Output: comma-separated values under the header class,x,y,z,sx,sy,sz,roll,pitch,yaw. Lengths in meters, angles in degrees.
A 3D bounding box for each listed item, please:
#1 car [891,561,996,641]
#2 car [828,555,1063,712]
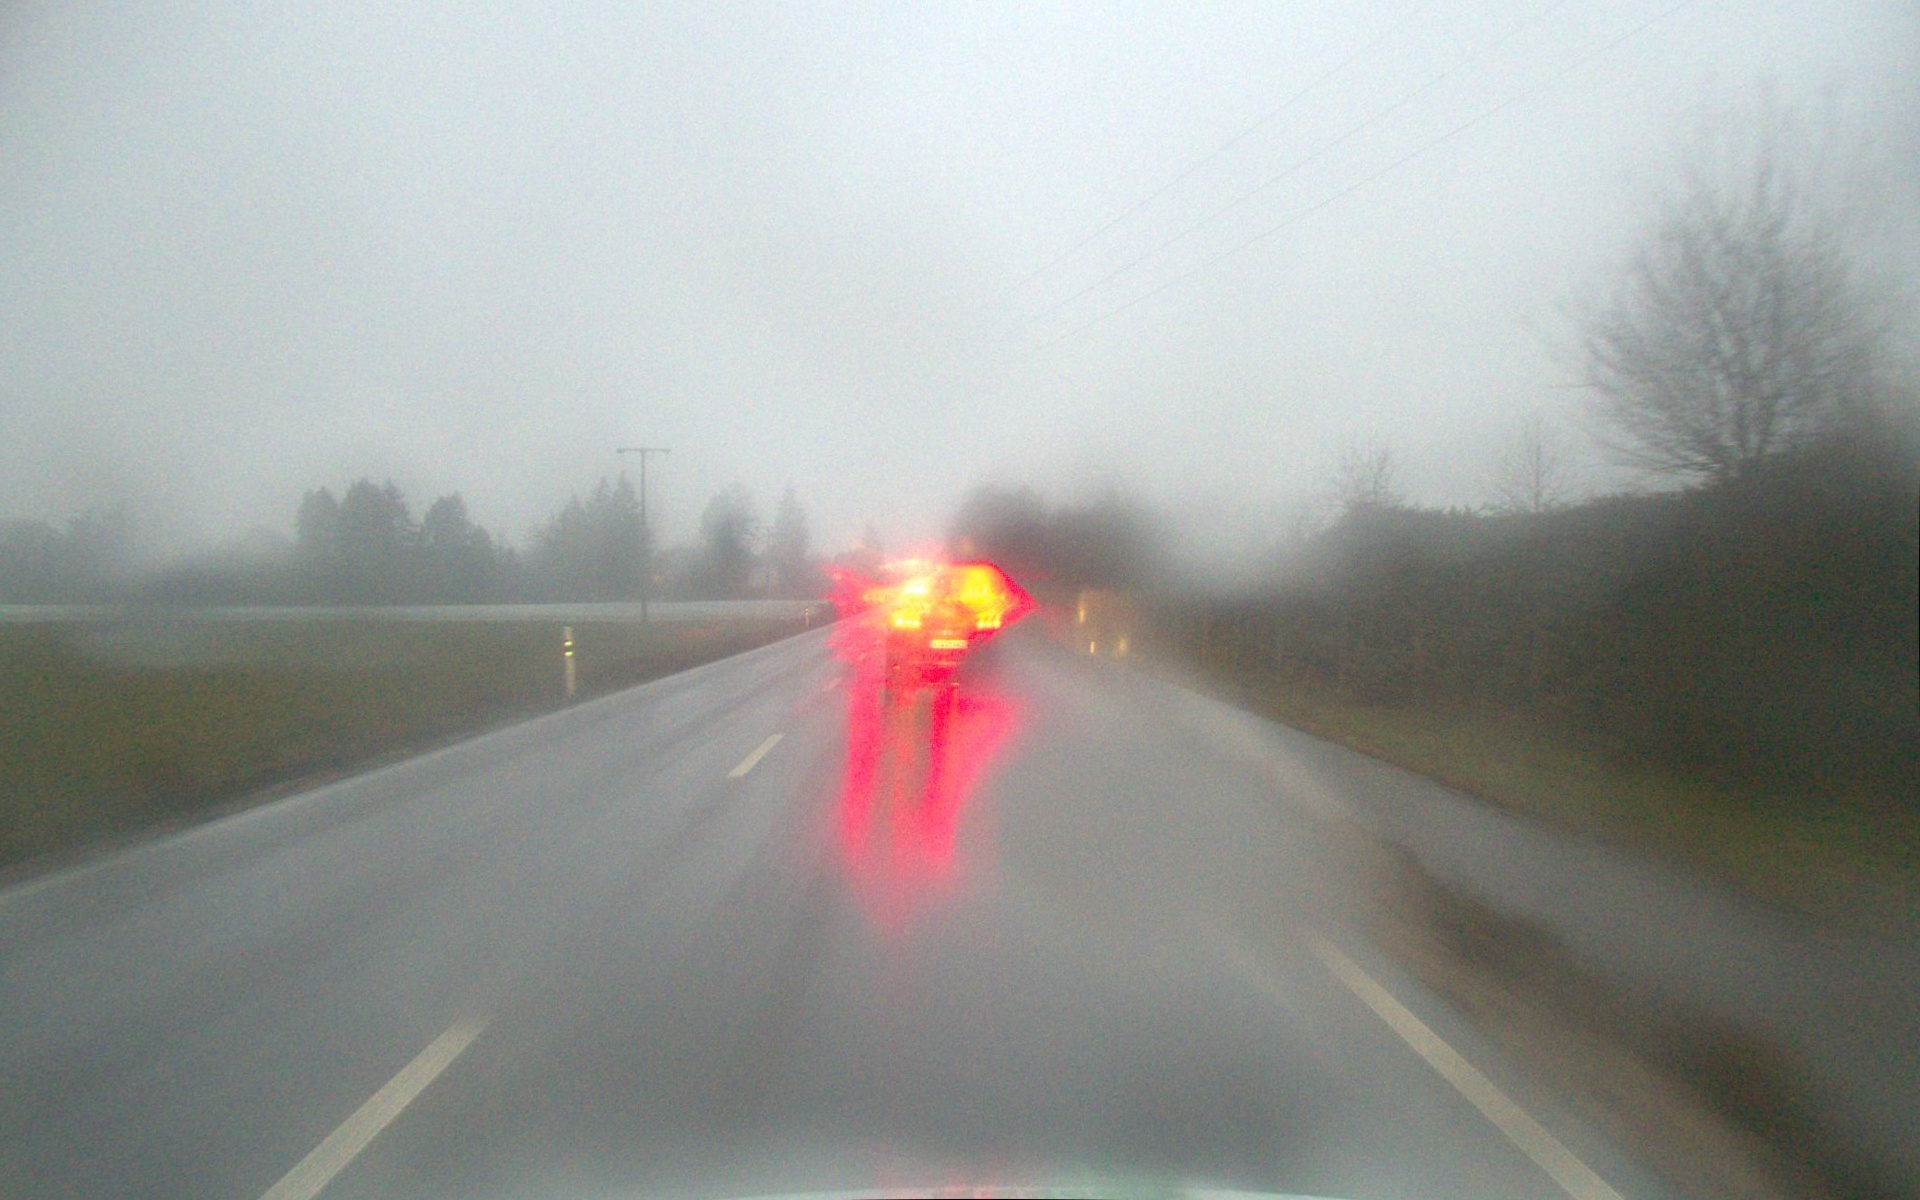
class,x,y,z,sx,sy,sz,roll,pitch,yaw
car,-0.447,0.001,45.813,2.699,2.071,6.590,0,0,0
car,-0.211,0.413,25.342,3.100,2.071,6.851,0,0,0
